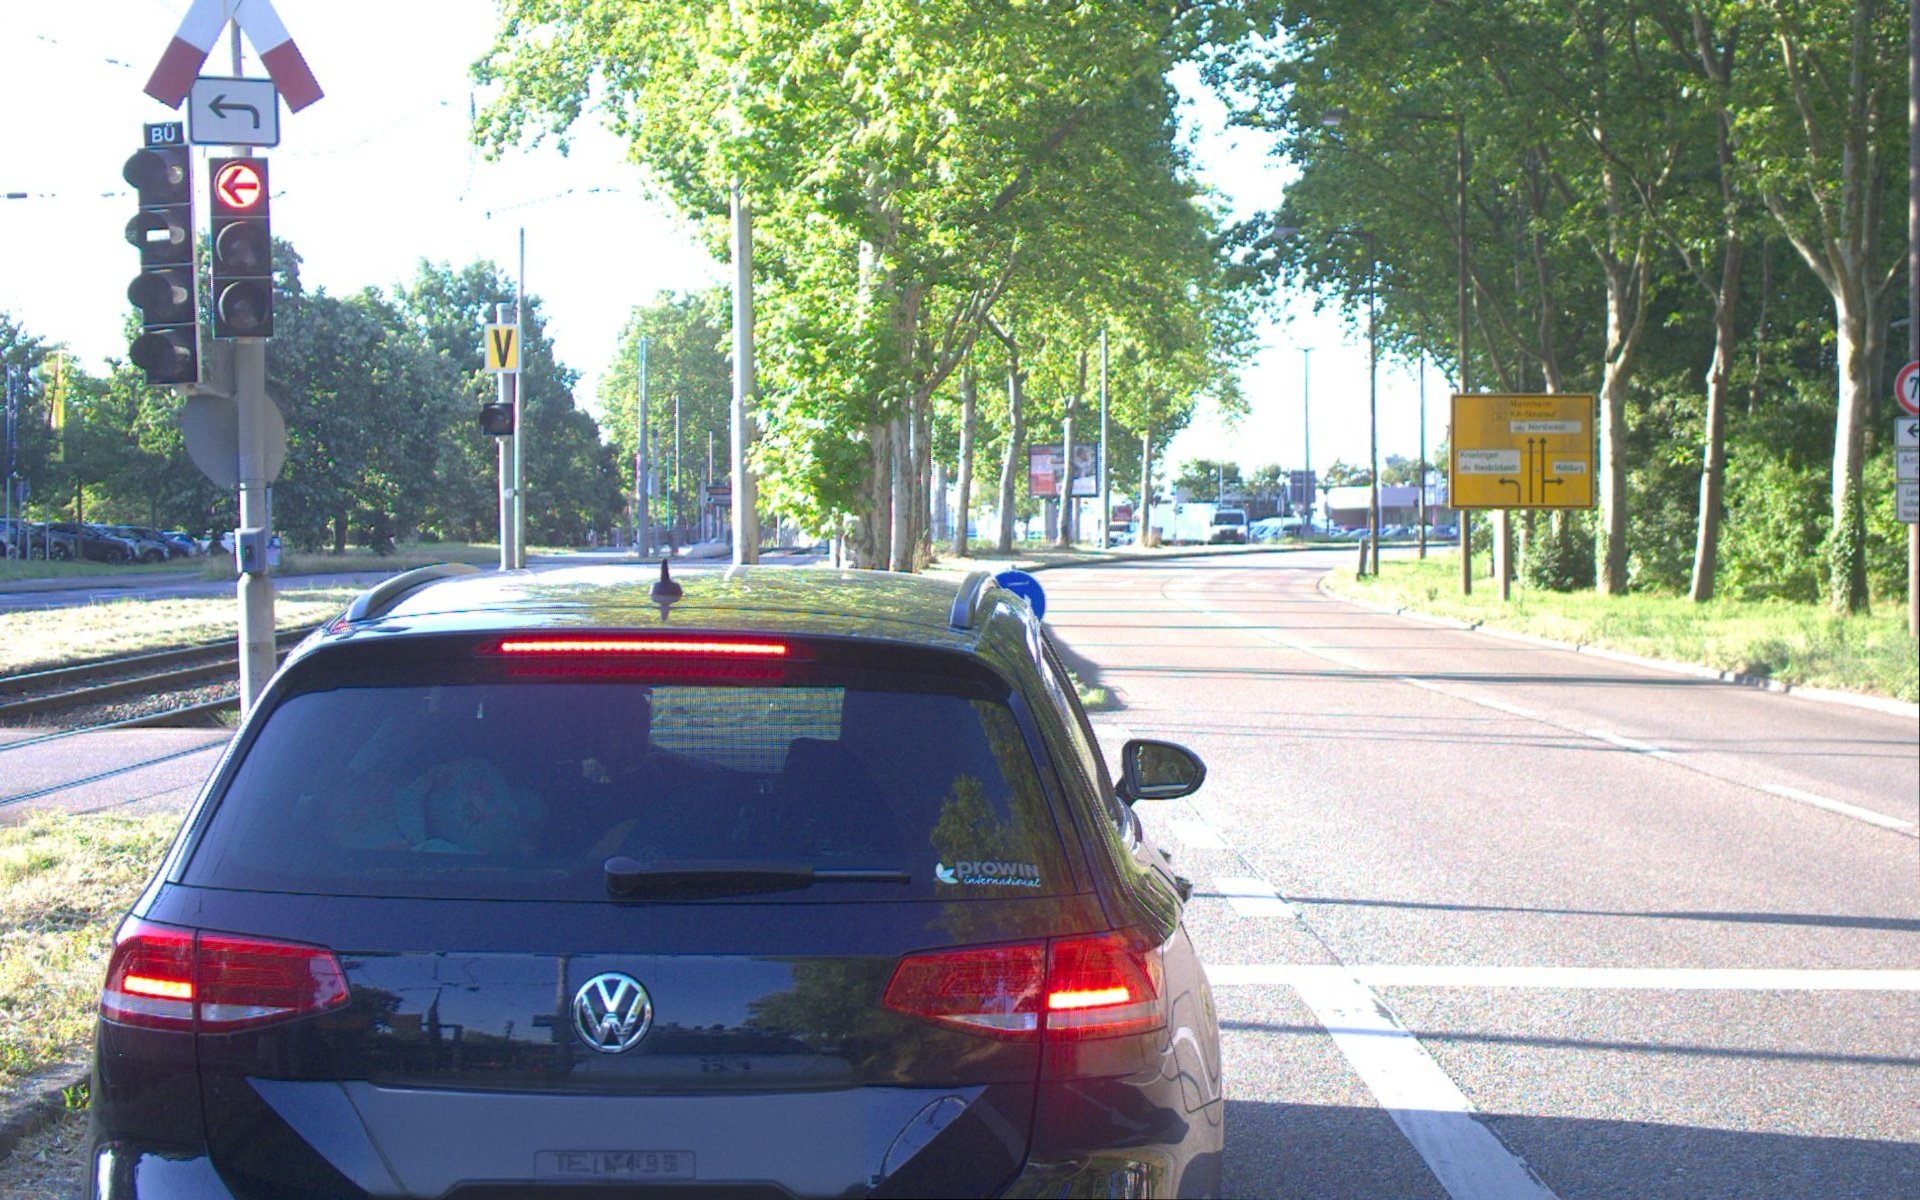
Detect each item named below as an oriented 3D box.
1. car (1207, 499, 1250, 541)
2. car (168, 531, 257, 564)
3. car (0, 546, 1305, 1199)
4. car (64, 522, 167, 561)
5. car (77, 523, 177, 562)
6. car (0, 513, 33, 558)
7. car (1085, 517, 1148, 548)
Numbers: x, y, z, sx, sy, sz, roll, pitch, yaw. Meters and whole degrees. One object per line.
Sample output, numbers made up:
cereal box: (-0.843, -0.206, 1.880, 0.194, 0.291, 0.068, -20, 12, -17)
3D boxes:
car: (15.854, -4.742, 203.453, 2.095, 2.453, 5.853, 1, 1, 1)
car: (-36.511, -2.565, 167.969, 3.986, 1.550, 1.744, 1, 1, -4)
car: (-0.477, 0.644, 6.398, 1.795, 1.459, 3.583, 1, 1, -1)
car: (-35.826, -2.472, 145.893, 3.986, 1.615, 1.744, 1, 1, -5)
car: (-36.119, -2.491, 149.055, 3.986, 1.615, 1.744, 1, 1, -5)
car: (-35.918, -2.376, 124.987, 3.986, 1.615, 1.744, 1, 1, -5)
car: (7.773, -3.331, 170.405, 1.864, 1.476, 4.087, 1, 1, 23)
